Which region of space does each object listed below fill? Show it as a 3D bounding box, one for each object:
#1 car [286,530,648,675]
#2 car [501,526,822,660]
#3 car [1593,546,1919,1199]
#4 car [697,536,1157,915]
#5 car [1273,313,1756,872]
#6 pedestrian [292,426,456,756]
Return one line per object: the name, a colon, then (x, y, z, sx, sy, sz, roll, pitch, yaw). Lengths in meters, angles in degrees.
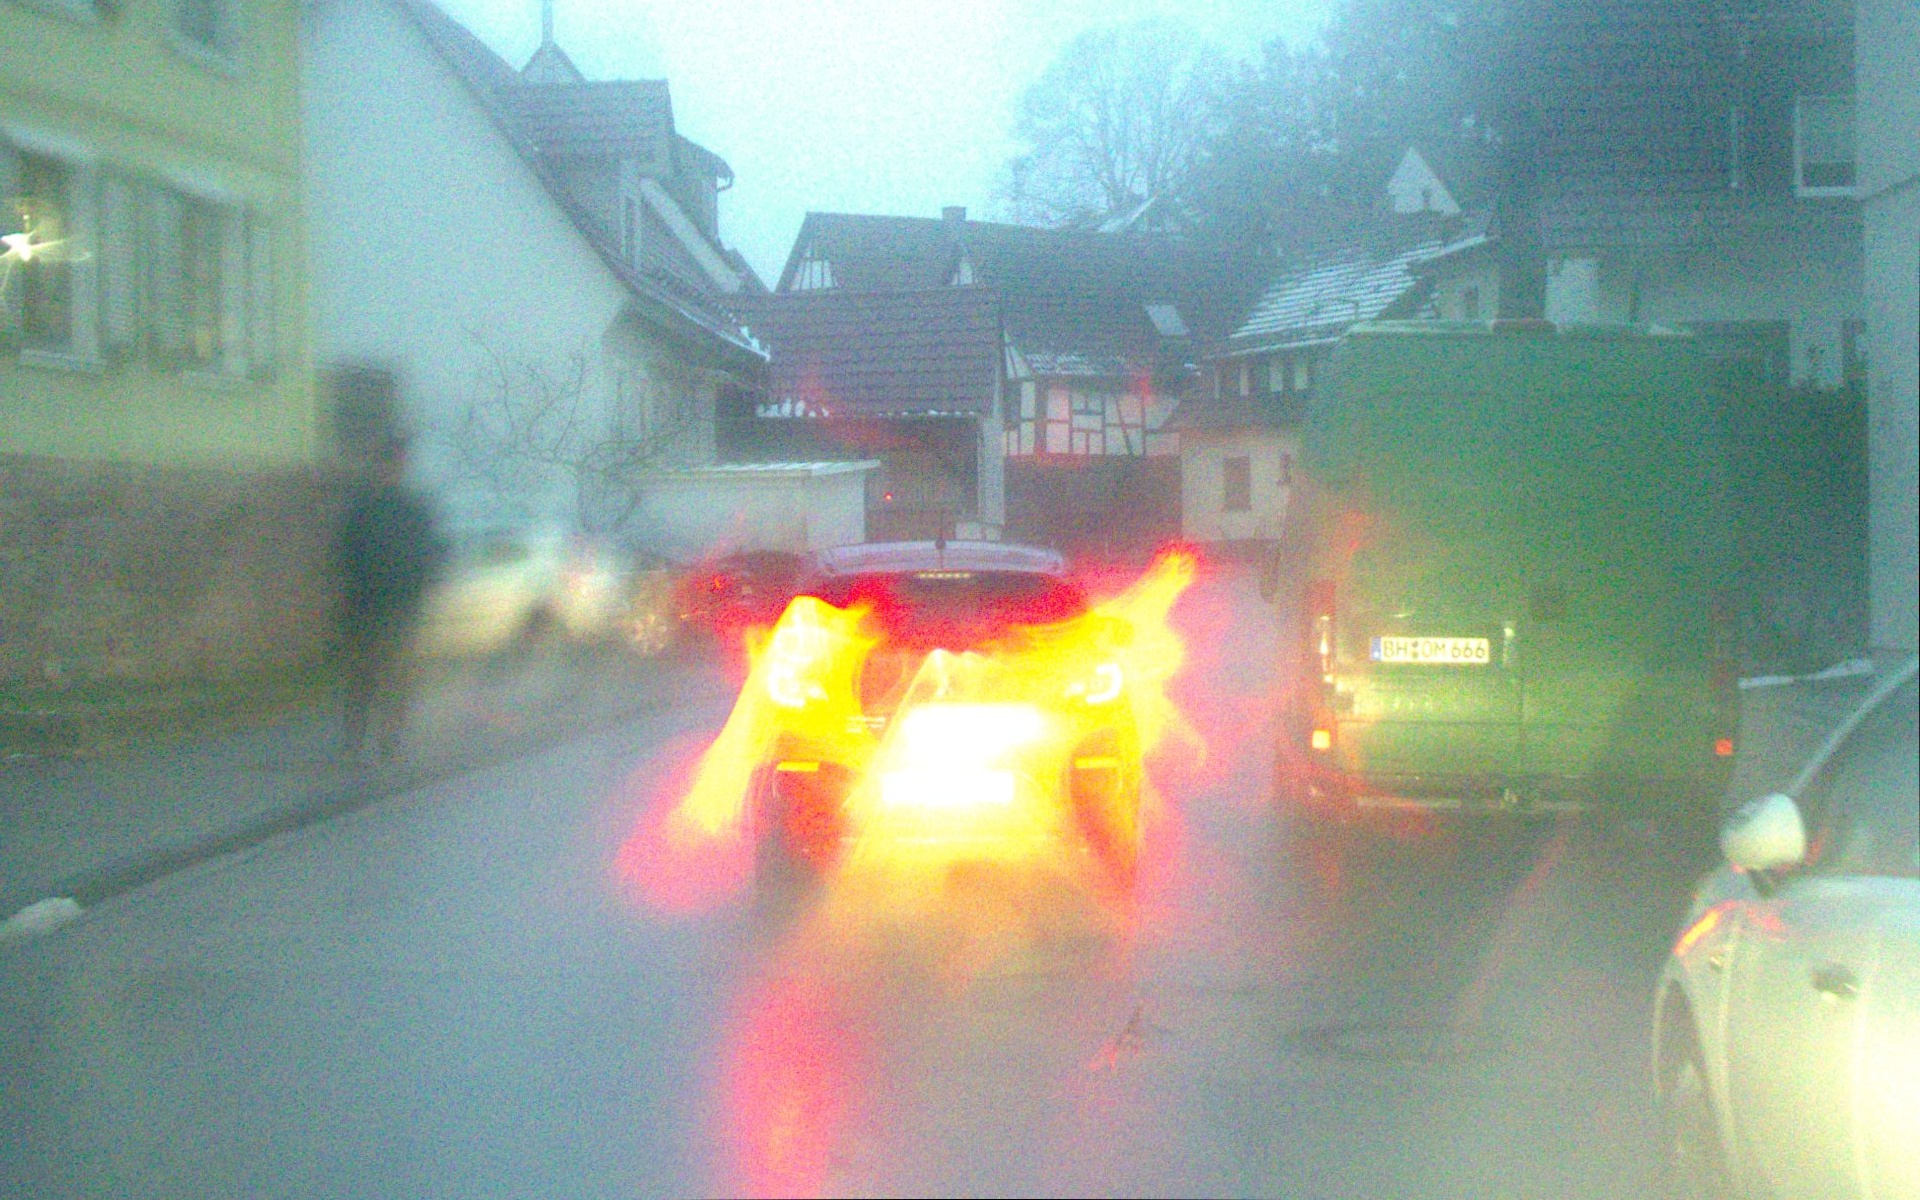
car: (-5.239, 0.007, 36.782, 3.508, 1.502, 1.692, 0, 1, 7)
car: (-3.385, -0.094, 39.430, 3.507, 1.502, 1.692, 0, 1, 1)
car: (2.231, 0.673, 5.545, 1.725, 1.502, 3.752, 0, 1, 0)
car: (-0.132, 0.457, 15.561, 1.795, 1.471, 4.000, 1, 1, 0)
car: (2.570, -0.069, 16.753, 1.814, 2.405, 3.751, 0, 1, 1)
pedestrian: (-3.640, -0.063, 21.402, 0.873, 2.007, 0.795, 0, 1, -1)
